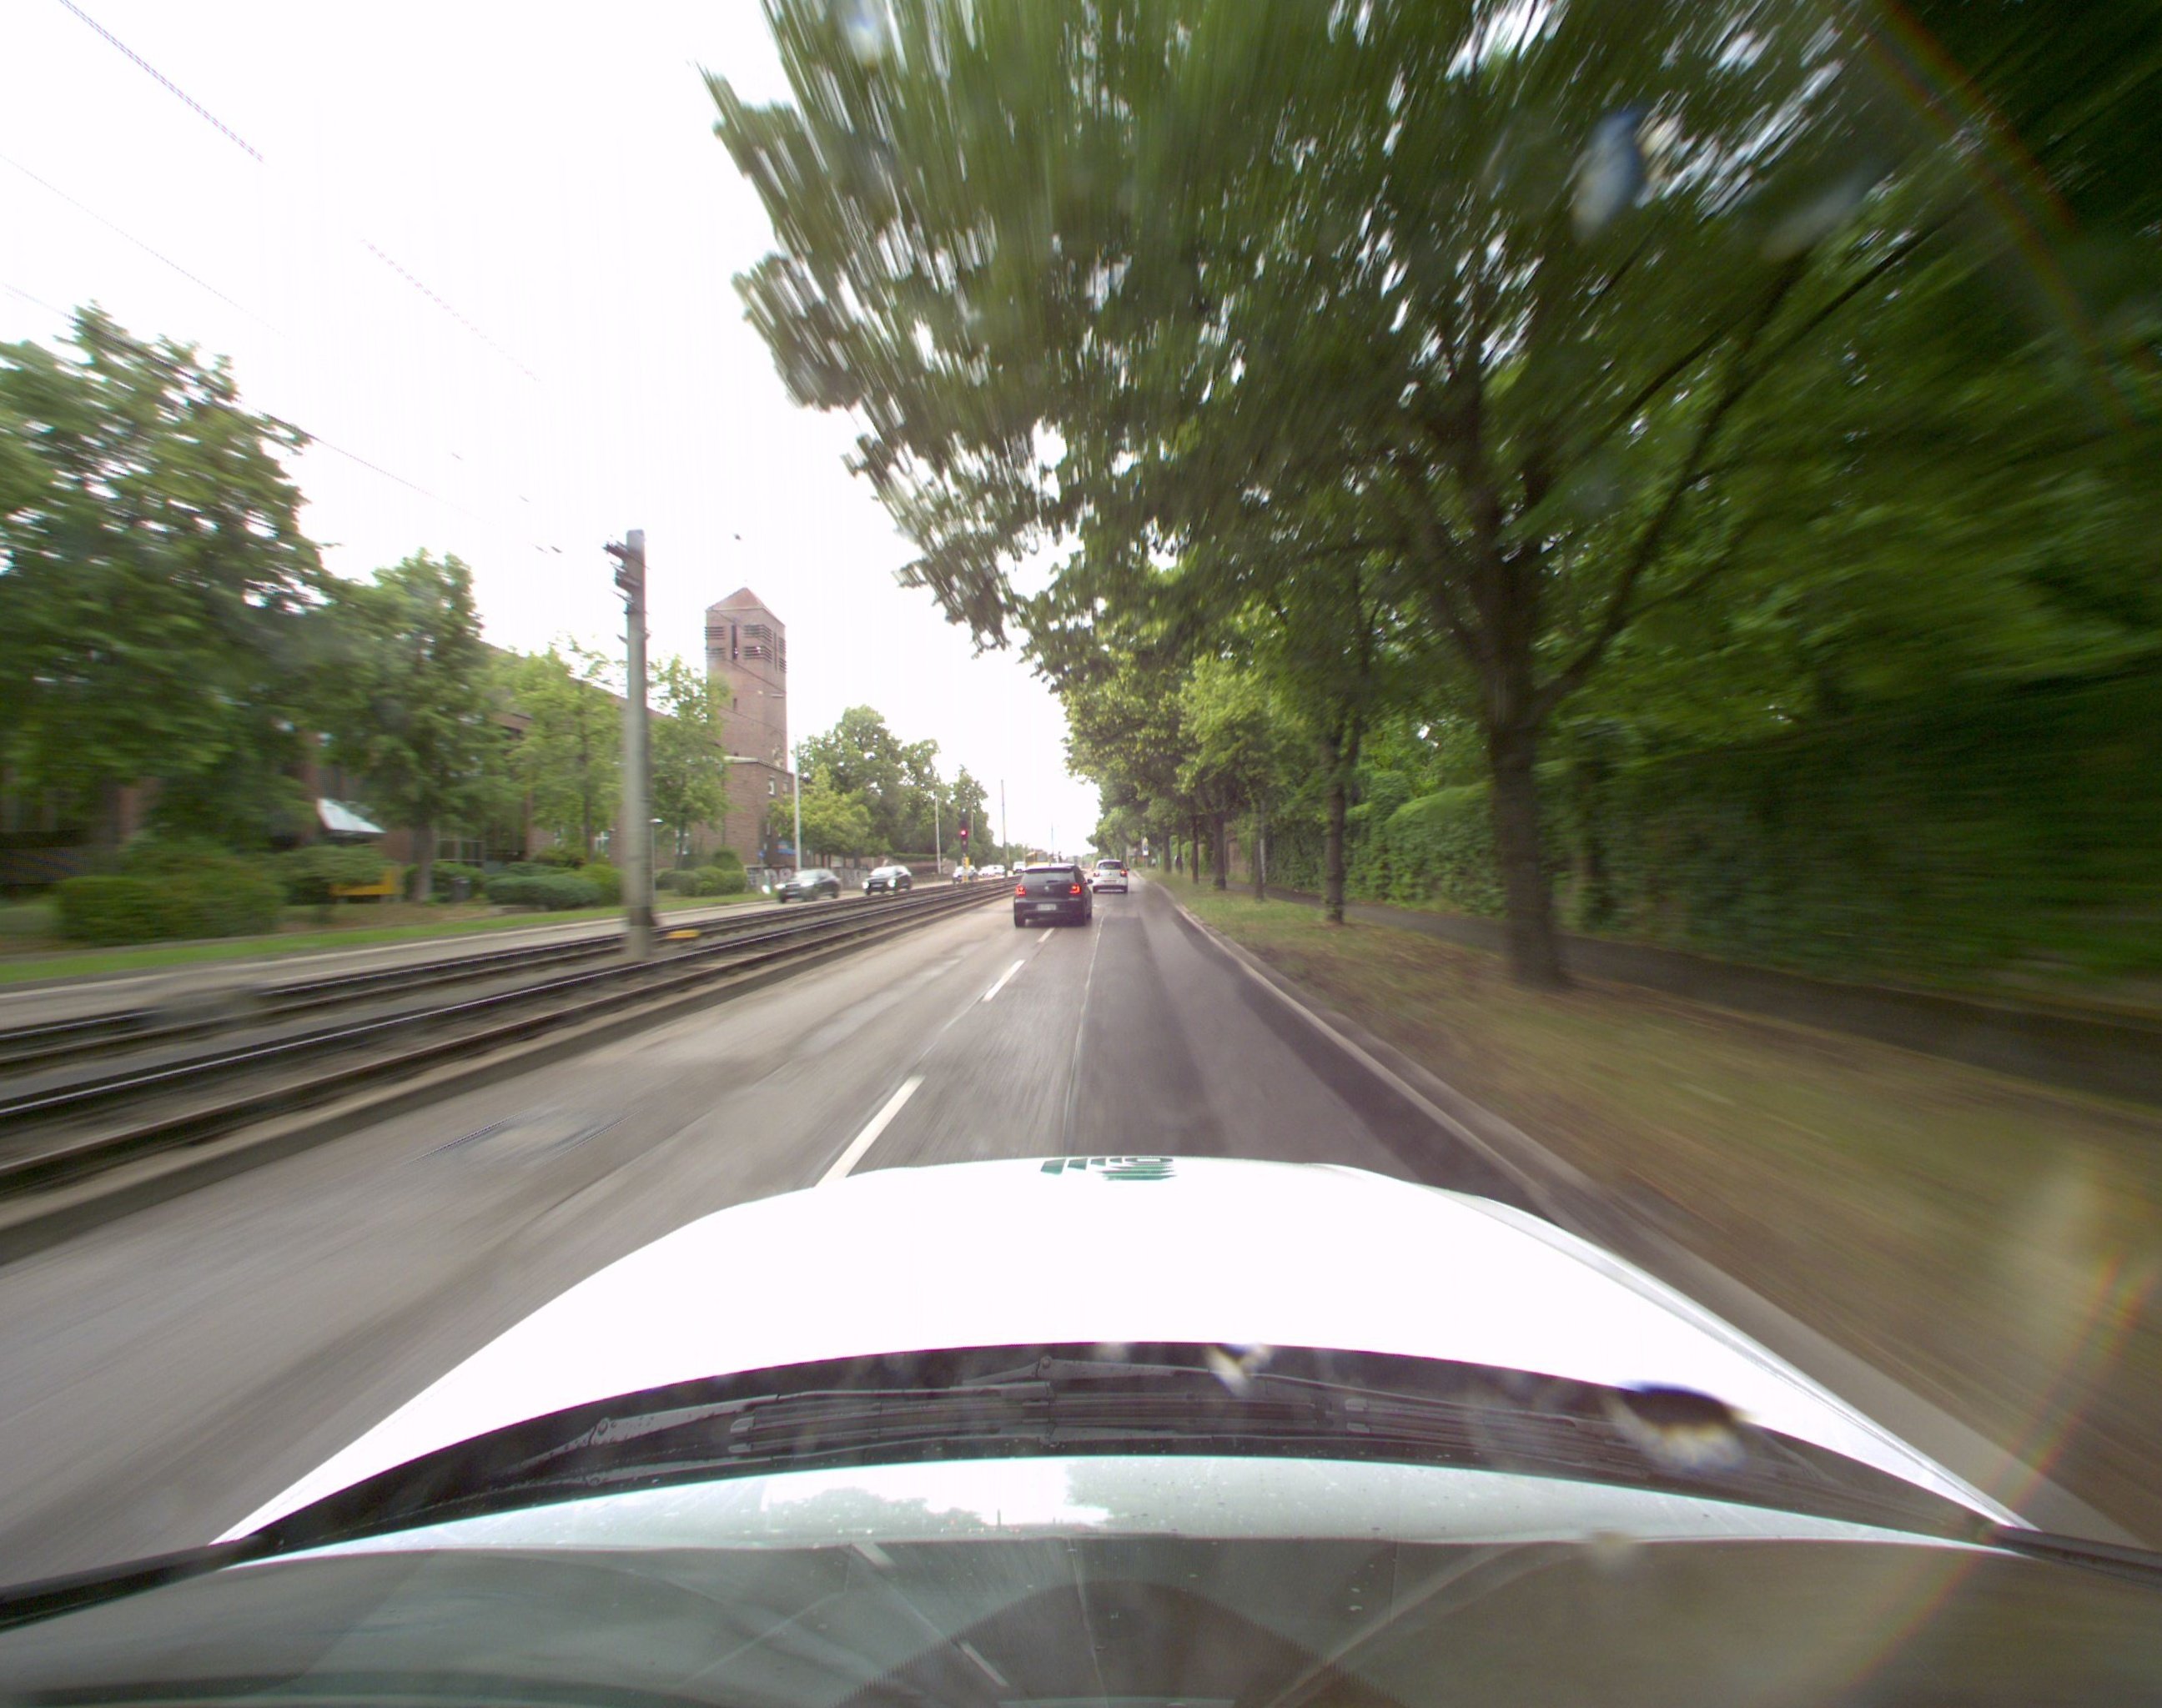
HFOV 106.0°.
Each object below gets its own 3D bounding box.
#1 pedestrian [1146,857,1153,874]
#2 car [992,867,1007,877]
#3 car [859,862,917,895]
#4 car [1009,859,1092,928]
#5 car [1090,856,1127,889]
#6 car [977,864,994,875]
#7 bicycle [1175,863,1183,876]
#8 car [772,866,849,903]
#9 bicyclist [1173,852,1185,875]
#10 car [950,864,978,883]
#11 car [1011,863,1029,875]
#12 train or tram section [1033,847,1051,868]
[{"bbox_3d":[12.201,1.977,144.913,1.159,2.977,0.948,-1,-1,2],"label":"pedestrian"},{"bbox_3d":[-12.352,2.739,123.320,1.721,1.443,4.002,-1,0,2],"label":"car"},{"bbox_3d":[-10.731,1.318,45.524,1.826,1.656,4.245,-2,0,5],"label":"car"},{"bbox_3d":[-0.647,0.881,20.031,1.787,1.485,3.966,-1,0,1],"label":"car"},{"bbox_3d":[1.346,0.849,38.884,1.669,1.531,3.724,0,0,3],"label":"car"},{"bbox_3d":[-12.470,2.008,107.020,1.610,1.434,4.002,-1,0,2],"label":"car"},{"bbox_3d":[7.110,1.144,58.979,0.405,0.902,2.100,-2,0,2],"label":"bicycle"},{"bbox_3d":[-13.758,1.513,41.727,2.003,1.656,4.623,-2,0,5],"label":"car"},{"bbox_3d":[7.101,0.665,58.985,0.760,1.616,0.999,-2,0,2],"label":"bicyclist"},{"bbox_3d":[-10.001,1.664,69.870,1.674,1.461,3.611,-2,0,3],"label":"car"},{"bbox_3d":[-9.103,2.187,121.980,1.986,1.662,5.129,-1,0,2],"label":"car"},{"bbox_3d":[-7.066,0.613,147.640,2.823,3.605,9.267,-1,0,0],"label":"train or tram section"}]
